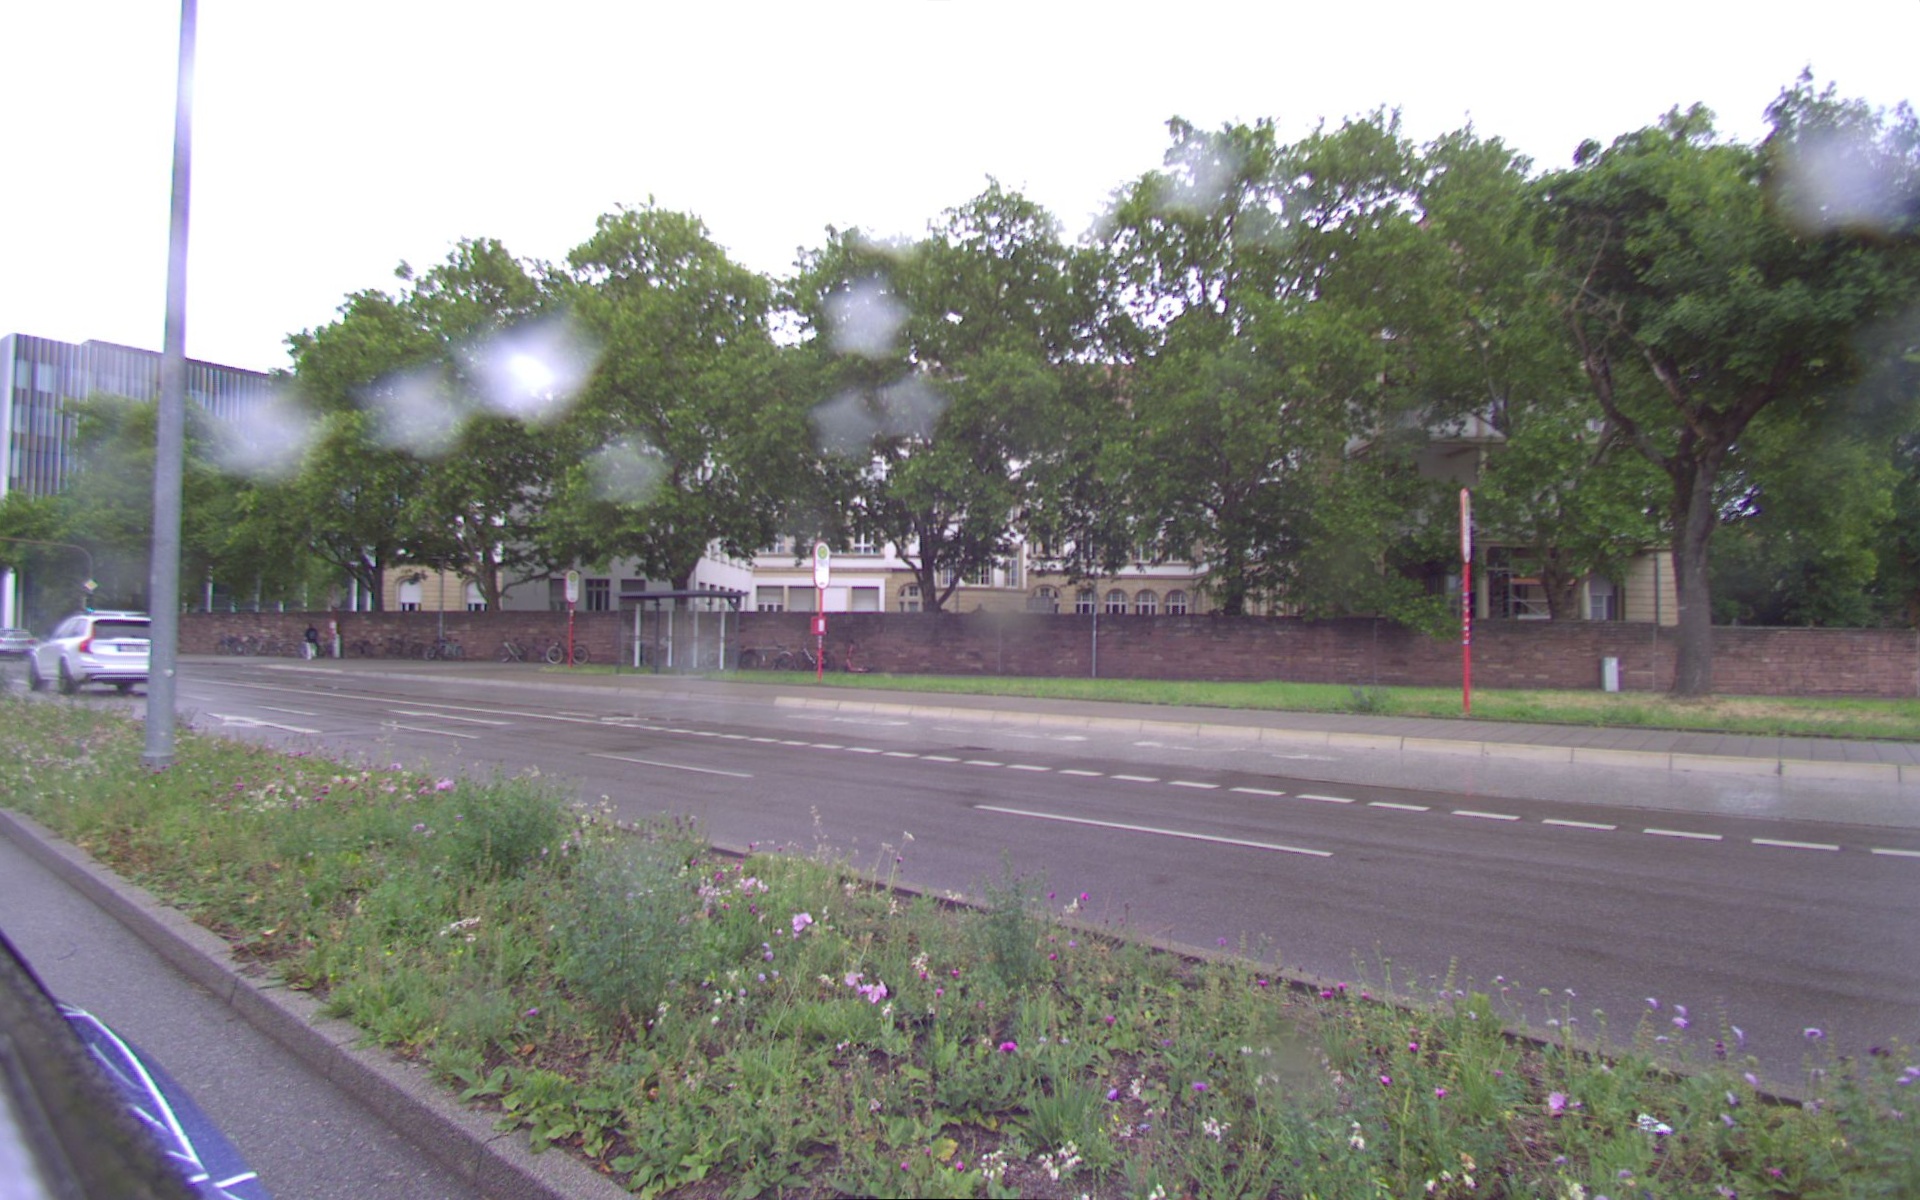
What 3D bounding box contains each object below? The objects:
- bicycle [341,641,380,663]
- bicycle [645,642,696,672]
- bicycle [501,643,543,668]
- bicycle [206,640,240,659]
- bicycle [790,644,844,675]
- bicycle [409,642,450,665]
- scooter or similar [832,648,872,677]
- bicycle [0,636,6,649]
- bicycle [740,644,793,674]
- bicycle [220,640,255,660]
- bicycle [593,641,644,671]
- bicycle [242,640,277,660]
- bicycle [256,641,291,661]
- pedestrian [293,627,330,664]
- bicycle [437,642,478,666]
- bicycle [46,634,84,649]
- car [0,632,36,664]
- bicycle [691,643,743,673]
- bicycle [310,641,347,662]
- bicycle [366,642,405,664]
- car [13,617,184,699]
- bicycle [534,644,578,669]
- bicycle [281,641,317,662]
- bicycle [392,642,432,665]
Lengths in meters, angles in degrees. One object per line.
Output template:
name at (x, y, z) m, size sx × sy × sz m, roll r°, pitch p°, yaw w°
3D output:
bicycle at (-27.802, 2.418, 46.921) m, size 1.692 × 0.990 × 0.727 m, roll -1°, pitch -2°, yaw 27°
bicycle at (-11.409, 2.227, 39.879) m, size 1.975 × 1.144 × 0.571 m, roll -1°, pitch -3°, yaw 18°
bicycle at (-18.475, 2.325, 42.667) m, size 1.692 × 0.990 × 0.727 m, roll -1°, pitch -2°, yaw 27°
bicycle at (-38.747, 2.609, 53.224) m, size 1.692 × 0.990 × 0.727 m, roll -1°, pitch -2°, yaw 27°
bicycle at (-5.352, 2.214, 37.960) m, size 1.978 × 1.144 × 0.570 m, roll -1°, pitch -3°, yaw 22°
bicycle at (-23.482, 2.374, 44.792) m, size 1.692 × 0.990 × 0.727 m, roll -1°, pitch -2°, yaw 27°
scooter or similar at (-4.001, 2.312, 37.460) m, size 1.353 × 1.055 × 0.570 m, roll -1°, pitch -3°, yaw 22°
bicycle at (-94.750, 4.124, 98.783) m, size 0.595 × 1.231 × 2.267 m, roll -1°, pitch -3°, yaw 25°
bicycle at (-7.342, 2.231, 38.437) m, size 1.978 × 1.144 × 0.570 m, roll -1°, pitch -3°, yaw 22°
bicycle at (-37.137, 2.568, 52.004) m, size 1.692 × 0.990 × 0.727 m, roll -1°, pitch -2°, yaw 27°
bicycle at (-13.695, 2.241, 40.604) m, size 1.975 × 1.144 × 0.571 m, roll -1°, pitch -3°, yaw 18°
bicycle at (-35.545, 2.551, 51.335) m, size 1.692 × 0.990 × 0.727 m, roll -1°, pitch -2°, yaw 27°
bicycle at (-33.876, 2.503, 49.933) m, size 1.858 × 0.990 × 0.726 m, roll -1°, pitch -2°, yaw 31°
pedestrian at (-29.979, 2.103, 46.782) m, size 1.395 × 1.708 × 0.862 m, roll -1°, pitch -3°, yaw 32°
bicycle at (-21.571, 2.298, 43.425) m, size 1.692 × 0.990 × 0.727 m, roll -1°, pitch -2°, yaw 27°
bicycle at (-73.841, 3.425, 83.511) m, size 0.595 × 1.231 × 2.267 m, roll -1°, pitch -3°, yaw 25°
car at (-43.982, 2.181, 46.391) m, size 4.151 × 1.415 × 1.663 m, roll -1°, pitch -4°, yaw 38°
bicycle at (-9.441, 2.241, 39.281) m, size 1.978 × 1.144 × 0.570 m, roll -1°, pitch -3°, yaw 22°
bicycle at (-30.158, 2.463, 48.353) m, size 1.692 × 0.990 × 0.727 m, roll -1°, pitch -2°, yaw 27°
bicycle at (-26.211, 2.399, 46.208) m, size 1.692 × 0.990 × 0.727 m, roll -1°, pitch -2°, yaw 27°
car at (-19.958, 1.305, 23.377) m, size 5.156 × 1.695 × 1.809 m, roll -1°, pitch -4°, yaw 37°
bicycle at (-16.644, 2.337, 41.682) m, size 1.692 × 0.990 × 0.727 m, roll -1°, pitch -2°, yaw 27°
bicycle at (-32.140, 2.485, 49.205) m, size 1.692 × 0.990 × 0.727 m, roll -1°, pitch -2°, yaw 27°
bicycle at (-24.640, 2.395, 45.486) m, size 1.692 × 0.990 × 0.727 m, roll -1°, pitch -2°, yaw 27°
